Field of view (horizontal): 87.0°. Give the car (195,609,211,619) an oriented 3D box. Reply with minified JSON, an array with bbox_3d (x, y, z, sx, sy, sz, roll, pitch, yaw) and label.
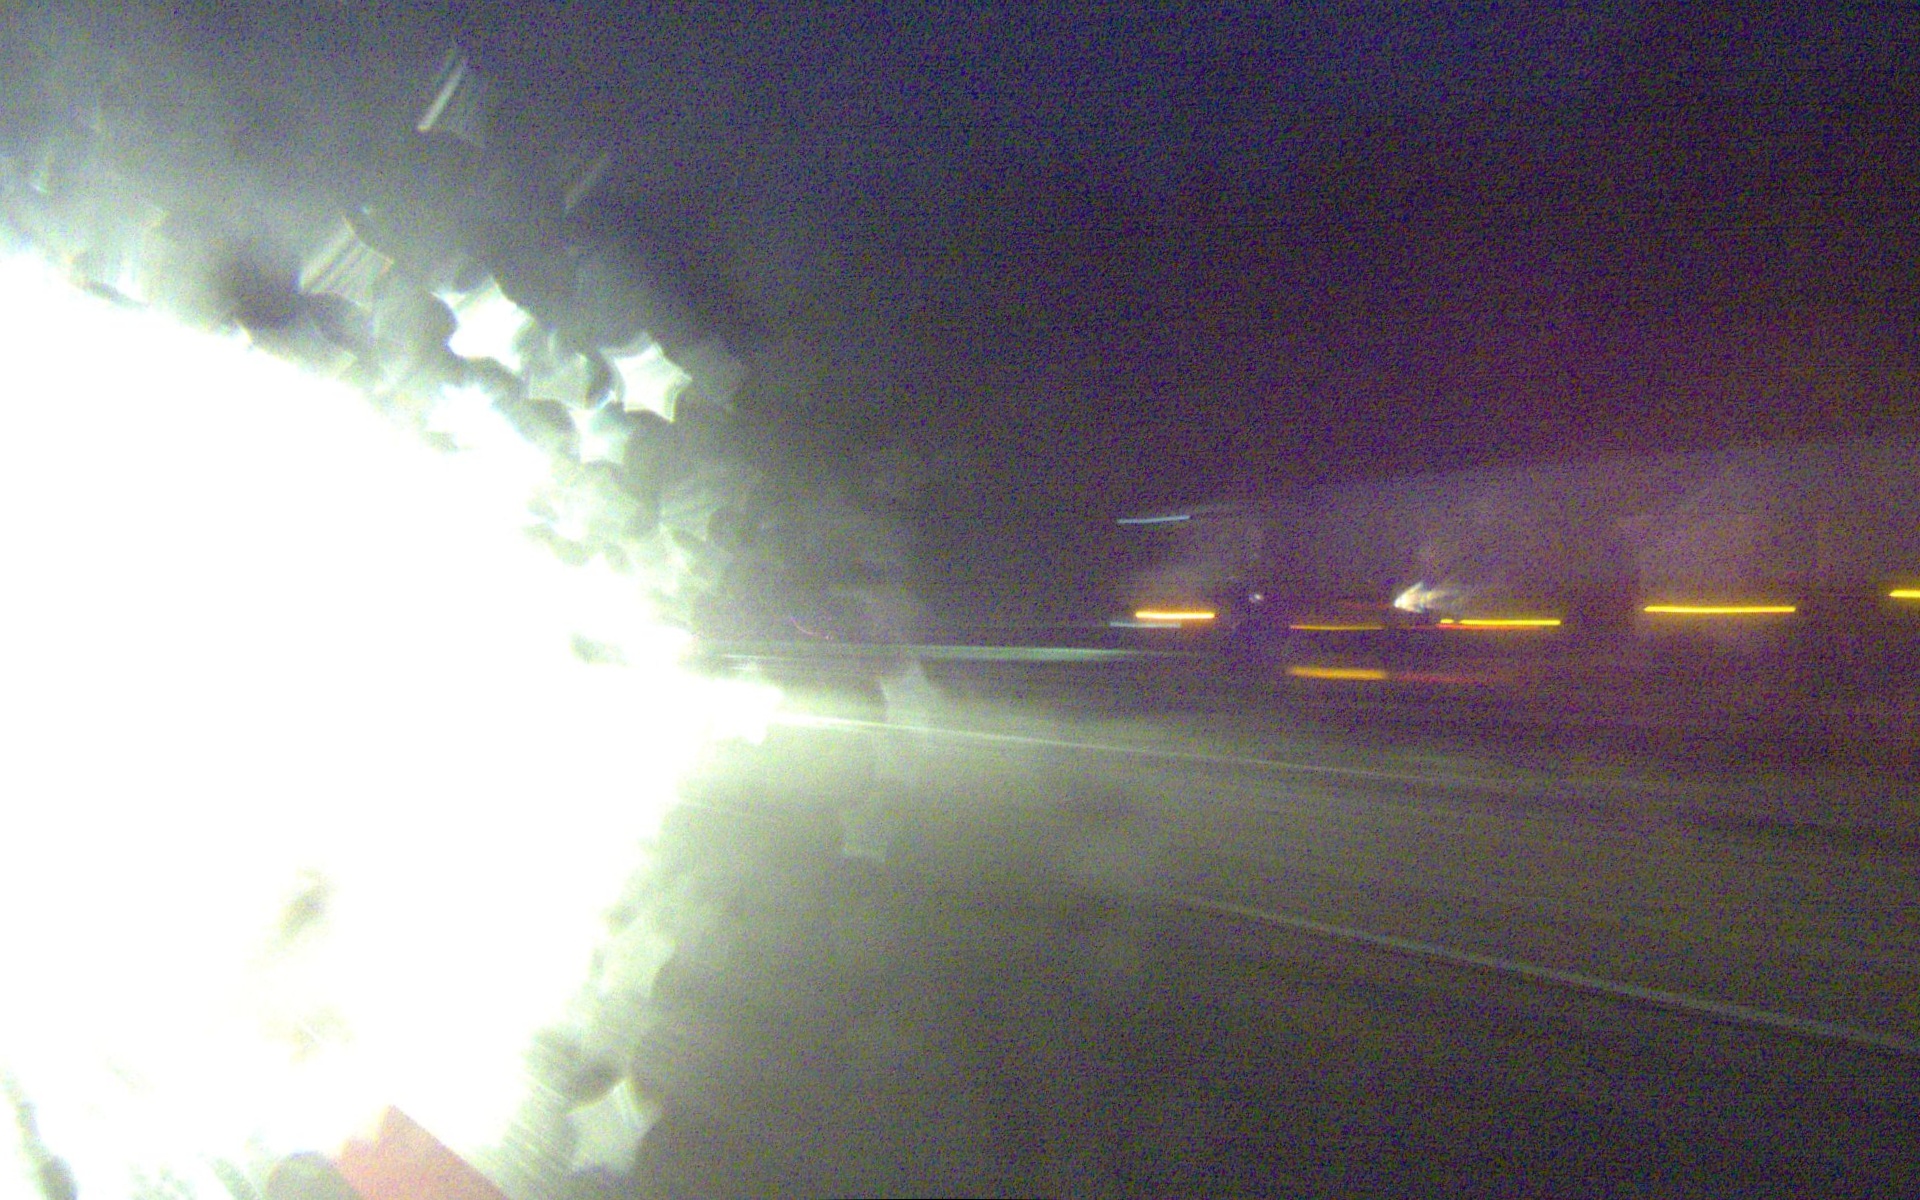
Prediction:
[{"bbox_3d":[-119.498,2.224,159.809,1.742,1.506,3.809,-1,1,-41],"label":"car"}]

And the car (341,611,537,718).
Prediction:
[{"bbox_3d":[-8.774,1.007,16.931,3.847,1.587,1.632,-2,-2,41],"label":"car"}]

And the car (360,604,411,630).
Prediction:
[{"bbox_3d":[-39.484,1.144,69.506,4.197,1.655,1.876,0,1,44],"label":"car"}]

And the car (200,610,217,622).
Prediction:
[{"bbox_3d":[-110.946,2.419,149.458,1.785,1.624,4.205,-1,-1,-40],"label":"car"}]

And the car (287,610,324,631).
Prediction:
[{"bbox_3d":[-58.242,1.815,90.080,1.971,1.741,4.003,-1,1,-45],"label":"car"}]

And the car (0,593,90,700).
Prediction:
[{"bbox_3d":[-20.285,0.956,21.976,4.465,2.121,1.730,-2,-1,44],"label":"car"}]

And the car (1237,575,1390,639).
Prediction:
[{"bbox_3d":[10.022,0.187,28.859,3.969,1.726,1.825,-1,1,19],"label":"car"}]

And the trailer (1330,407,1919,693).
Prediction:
[{"bbox_3d":[11.072,-0.626,14.737,10.441,3.498,2.582,0,1,41],"label":"trailer"}]

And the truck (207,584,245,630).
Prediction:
[{"bbox_3d":[-73.644,0.676,101.461,2.533,4.437,5.860,-2,1,-41],"label":"truck"}]

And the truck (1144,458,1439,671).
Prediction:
[{"bbox_3d":[6.163,-0.599,19.060,4.639,3.483,2.577,0,1,41],"label":"truck"}]

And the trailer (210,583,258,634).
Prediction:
[{"bbox_3d":[-68.784,0.718,95.763,2.543,4.490,12.512,-2,1,-41],"label":"trailer"}]
